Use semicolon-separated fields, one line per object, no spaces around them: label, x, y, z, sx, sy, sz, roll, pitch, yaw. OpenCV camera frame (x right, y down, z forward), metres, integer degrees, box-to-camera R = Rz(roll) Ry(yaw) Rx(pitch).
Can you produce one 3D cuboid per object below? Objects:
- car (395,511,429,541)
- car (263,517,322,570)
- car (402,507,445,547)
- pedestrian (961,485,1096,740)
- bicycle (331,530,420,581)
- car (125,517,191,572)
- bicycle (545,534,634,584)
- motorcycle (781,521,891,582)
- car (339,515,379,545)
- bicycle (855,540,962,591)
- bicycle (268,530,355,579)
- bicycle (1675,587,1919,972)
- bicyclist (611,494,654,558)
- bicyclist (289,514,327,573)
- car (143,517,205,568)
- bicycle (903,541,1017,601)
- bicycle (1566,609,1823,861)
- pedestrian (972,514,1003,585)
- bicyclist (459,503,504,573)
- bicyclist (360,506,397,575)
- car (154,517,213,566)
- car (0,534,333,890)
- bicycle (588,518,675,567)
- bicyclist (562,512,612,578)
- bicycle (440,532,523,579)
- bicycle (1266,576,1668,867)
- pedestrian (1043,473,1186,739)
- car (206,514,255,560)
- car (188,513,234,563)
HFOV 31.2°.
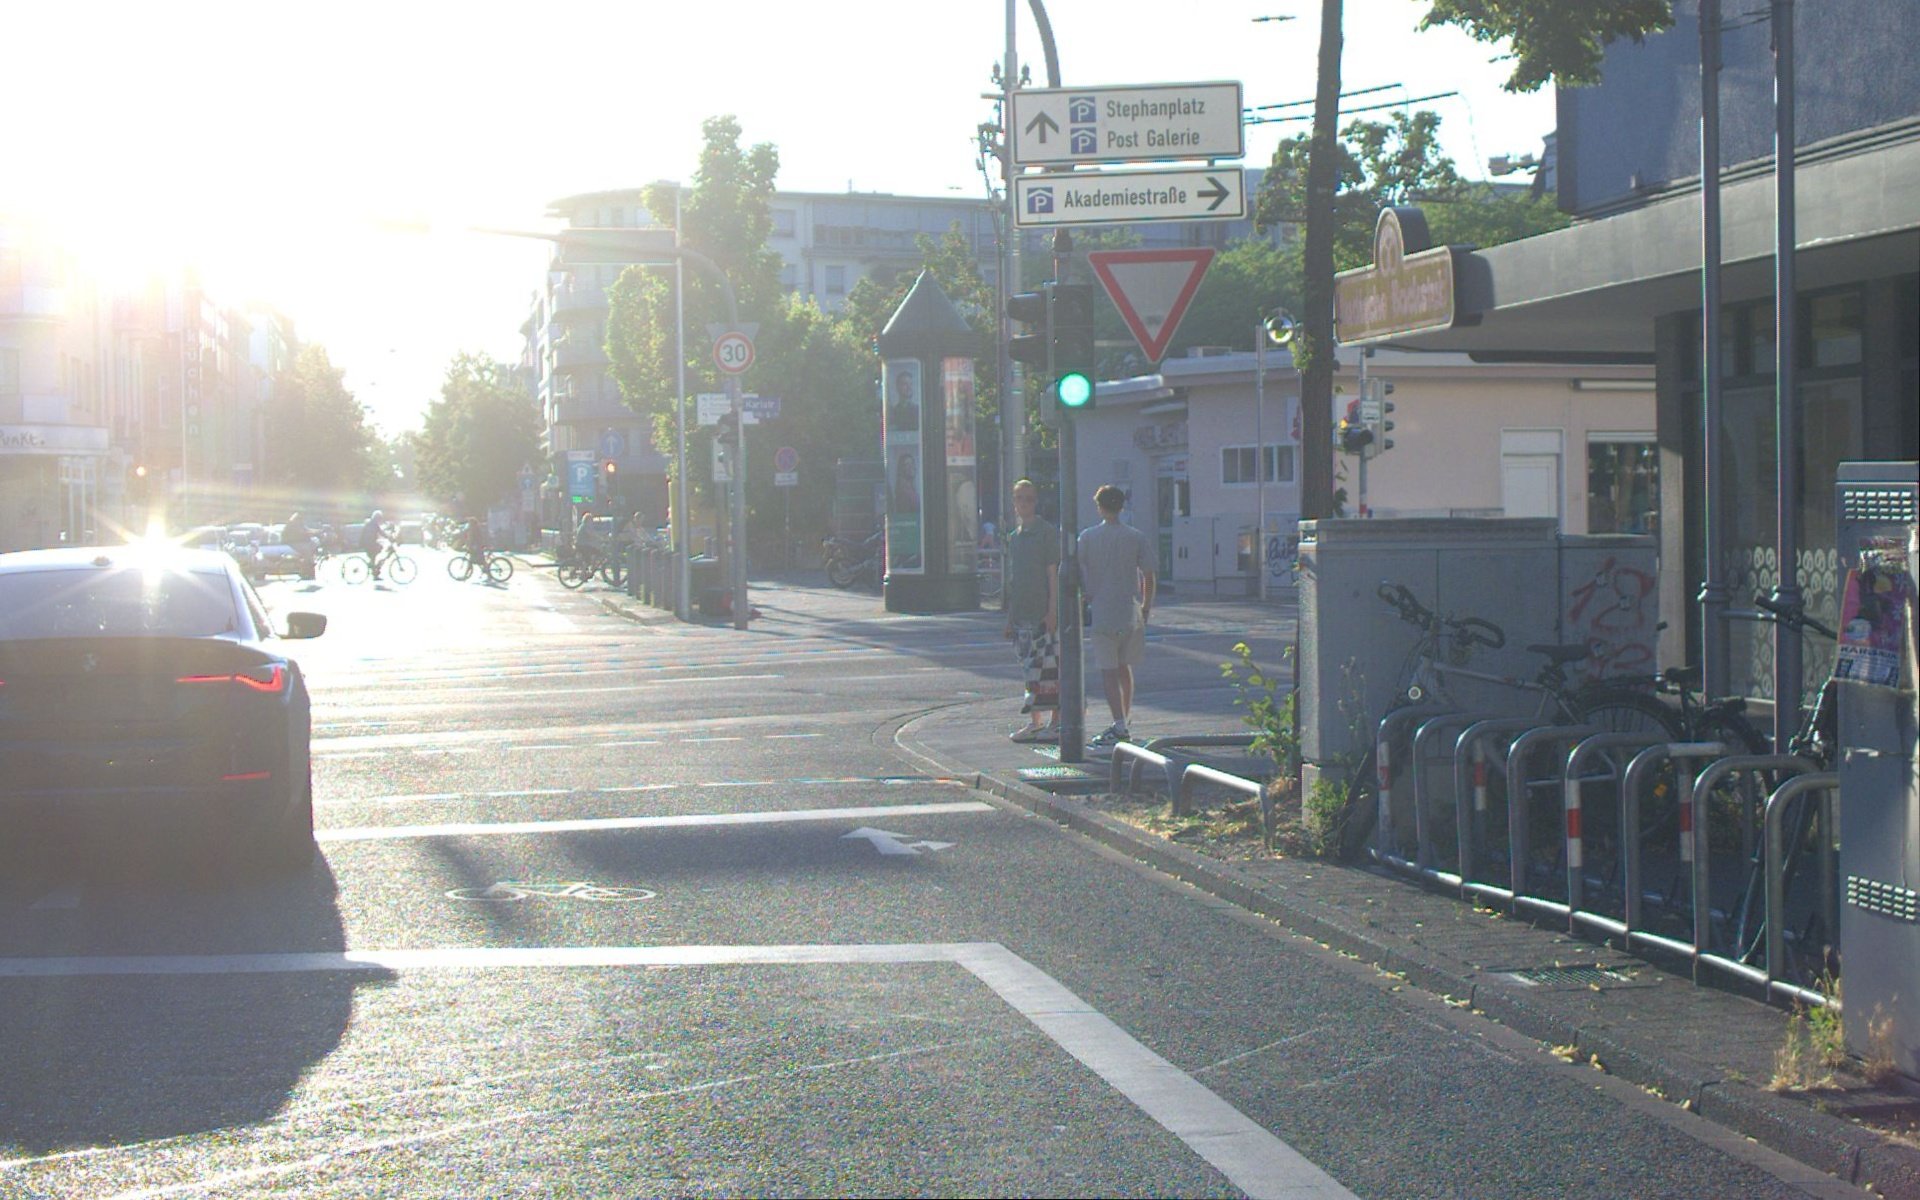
car;-34.804;-4.687;218.435;1.993;1.809;4.001;1;1;-7
car;-18.945;-1.602;97.619;1.544;1.462;3.353;0;1;-9
car;-27.347;-3.720;175.256;1.993;2.007;4.001;-1;2;-7
pedestrian;0.484;0.077;24.268;0.585;1.767;0.749;-2;2;-39
bicycle;-14.265;-1.082;83.896;2.117;1.200;0.500;1;0;-8
car;-22.521;-1.581;96.611;1.544;1.478;3.353;-1;2;-9
bicycle;-9.119;-1.008;84.713;2.118;1.200;0.500;1;0;3
motorcycle;-2.547;-1.002;70.484;2.234;1.197;0.720;-1;2;-3
car;-34.613;-4.033;198.054;1.993;1.678;4.001;-1;2;-7
bicycle;-1.008;-0.681;67.428;2.077;0.979;0.560;-1;0;-1
bicycle;-16.391;-1.157;86.896;2.117;1.200;0.500;1;0;-8
bicycle;3.210;0.559;11.360;1.656;1.190;0.494;-1;2;-21
bicyclist;-8.239;-1.869;86.566;0.960;1.596;0.646;1;0;3
bicyclist;-16.470;-1.424;86.894;0.899;1.476;0.735;1;0;-8
car;-22.896;-1.673;100.239;1.544;1.464;3.353;0;1;-9
bicycle;0.000;-0.518;61.777;2.020;1.041;0.560;-1;0;-1
bicycle;3.290;0.577;15.522;0.403;1.007;1.671;-3;2;-14
pedestrian;0.646;-1.191;81.135;0.680;1.651;0.696;1;0;-1
bicyclist;-12.385;-1.597;89.042;1.129;1.784;0.765;1;0;-8
bicyclist;-14.194;-1.454;83.909;0.850;1.653;0.676;1;0;-8
car;-23.741;-1.778;105.148;1.544;1.464;3.353;0;1;-9
car;-4.087;0.440;16.527;1.890;1.475;4.544;1;1;-13
bicycle;-8.258;-1.443;86.560;2.118;1.200;0.500;1;0;3
bicyclist;-9.193;-1.351;84.726;1.129;1.596;0.702;1;0;2
bicycle;-12.399;-1.149;89.045;2.117;1.200;0.500;1;0;-8
bicycle;2.186;0.507;14.835;1.656;1.190;0.477;-1;2;-14
pedestrian;1.051;0.031;23.449;0.637;1.767;0.749;-2;2;-29
car;-24.946;-2.147;117.600;1.482;1.554;3.259;0;1;-9
car;-24.366;-2.011;111.834;1.306;1.577;2.889;0;1;-9
